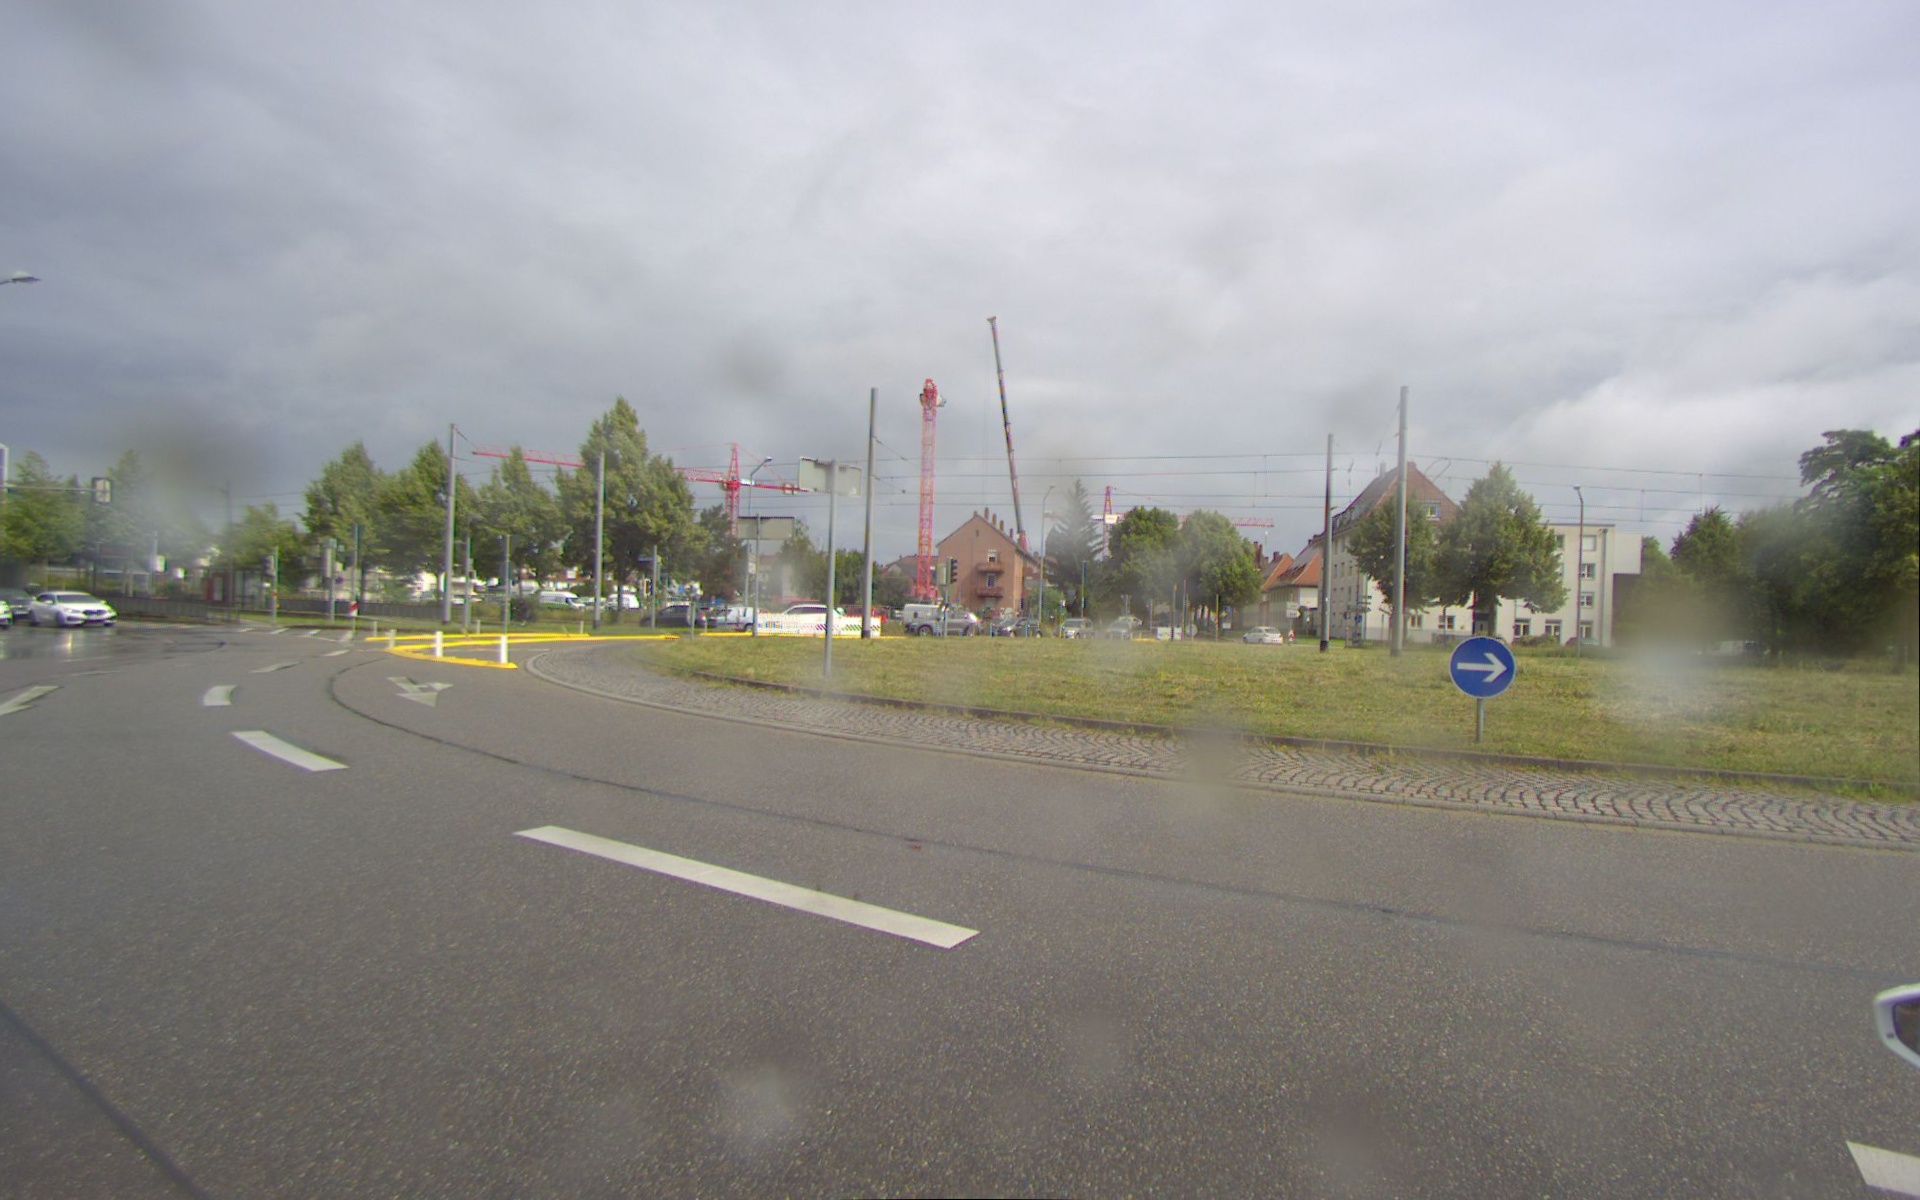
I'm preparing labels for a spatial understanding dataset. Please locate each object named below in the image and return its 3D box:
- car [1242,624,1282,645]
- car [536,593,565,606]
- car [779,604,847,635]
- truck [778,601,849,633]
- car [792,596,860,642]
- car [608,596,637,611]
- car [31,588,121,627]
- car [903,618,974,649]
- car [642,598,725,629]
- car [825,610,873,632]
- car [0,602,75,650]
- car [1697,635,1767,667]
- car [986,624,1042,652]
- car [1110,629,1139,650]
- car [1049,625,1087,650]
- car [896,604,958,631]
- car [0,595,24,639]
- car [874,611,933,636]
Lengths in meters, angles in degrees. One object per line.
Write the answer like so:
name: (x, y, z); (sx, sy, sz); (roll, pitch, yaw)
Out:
car: (23.273, 2.628, 77.480); (1.522, 1.473, 3.493); (1, 0, -10)
car: (-51.021, -0.039, 125.181); (3.437, 1.581, 1.547); (1, 0, 29)
car: (-7.945, 1.074, 54.512); (3.432, 1.530, 1.500); (2, 0, -2)
truck: (-12.399, 1.381, 84.759); (6.004, 2.241, 2.388); (4, 0, 38)
car: (-8.094, 1.136, 60.600); (3.930, 2.601, 1.794); (2, -1, -12)
car: (-43.777, 0.460, 130.215); (3.533, 1.745, 1.498); (1, 0, 27)
car: (-37.440, 0.319, 42.536); (3.835, 1.528, 1.724); (1, 0, 30)
car: (-1.196, 1.855, 55.382); (3.619, 1.581, 1.568); (2, 0, -17)
car: (-15.005, 0.719, 54.636); (3.919, 1.537, 1.804); (2, 0, 4)
car: (-10.157, 1.913, 91.528); (3.931, 1.722, 1.925); (4, 0, 33)
car: (-43.303, 1.175, 46.845); (3.931, 2.040, 1.995); (2, 0, 33)
car: (57.057, 3.750, 74.330); (2.070, 2.085, 5.164); (1, 0, 13)
car: (3.396, 2.367, 62.723); (1.766, 1.606, 3.990); (2, 0, 32)
car: (13.447, 3.198, 81.856); (1.569, 1.581, 3.549); (2, 0, 22)
car: (7.303, 2.501, 67.666); (1.520, 1.581, 3.498); (2, 0, 24)
car: (-3.194, 1.634, 95.491); (6.178, 2.112, 2.031); (4, 0, 44)
car: (-39.293, 0.657, 39.909); (4.391, 1.694, 1.863); (0, -1, 30)
car: (-4.209, 1.765, 75.188); (3.951, 1.706, 1.985); (2, 0, -29)
